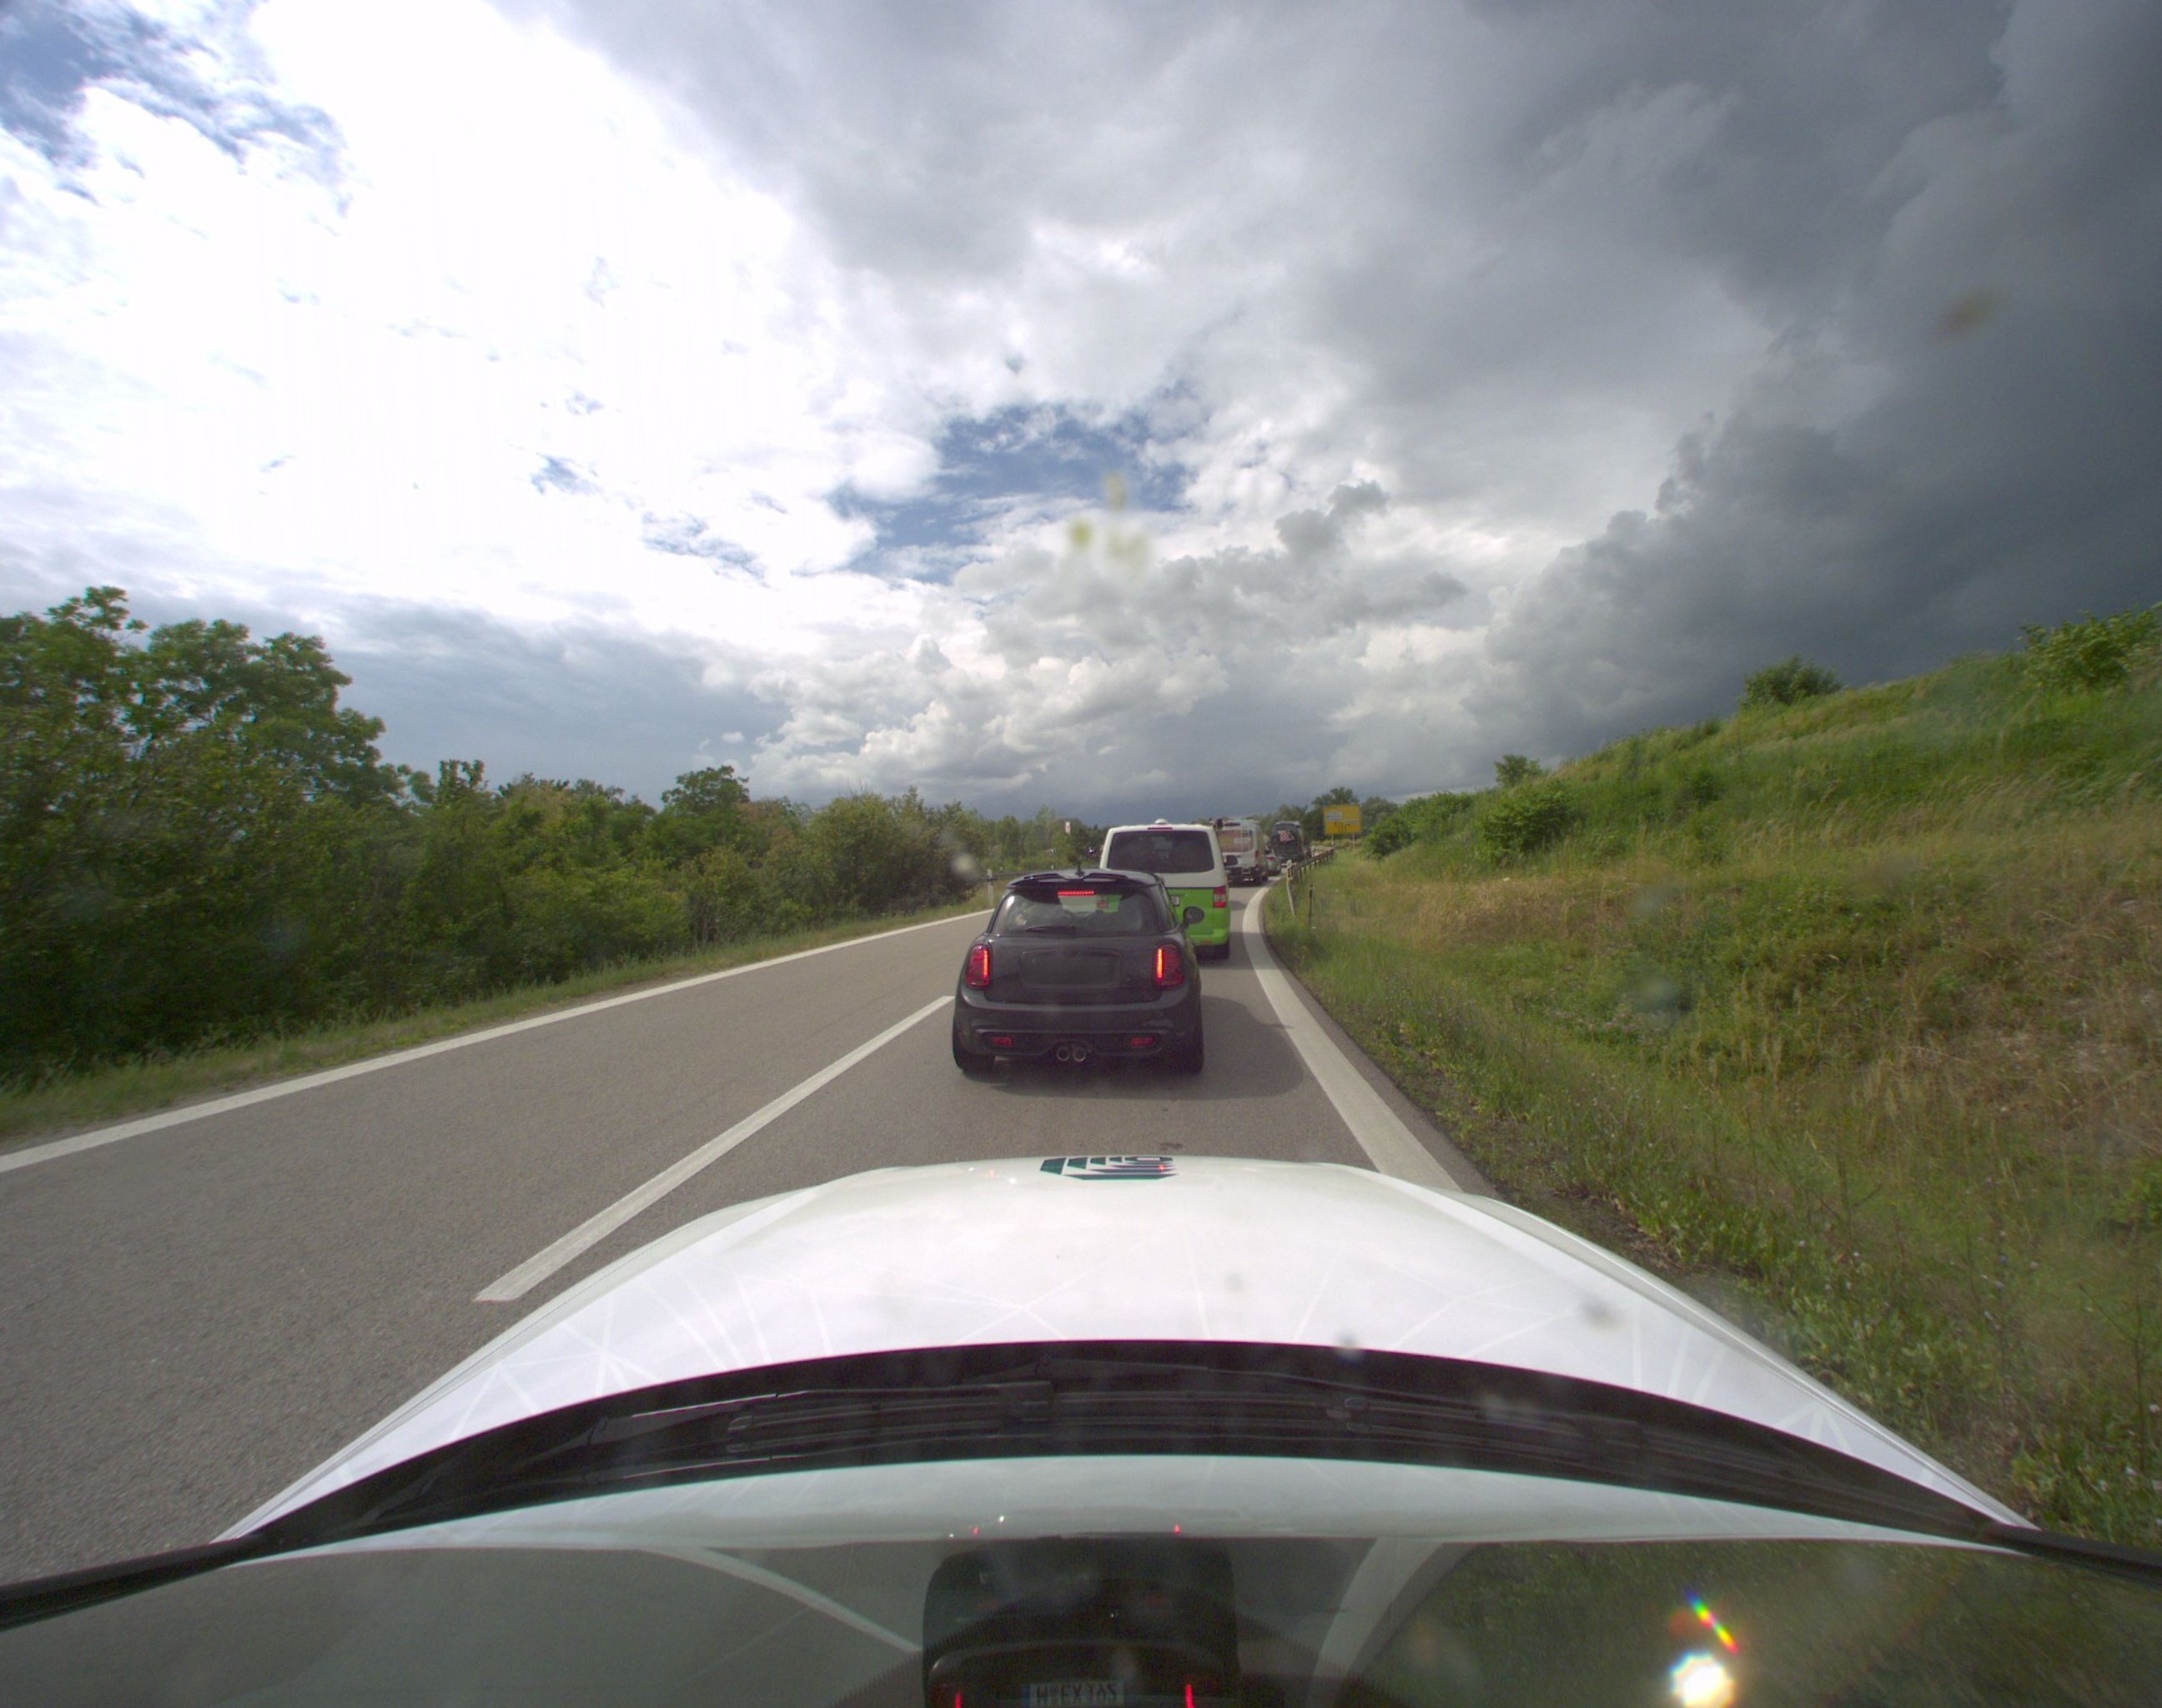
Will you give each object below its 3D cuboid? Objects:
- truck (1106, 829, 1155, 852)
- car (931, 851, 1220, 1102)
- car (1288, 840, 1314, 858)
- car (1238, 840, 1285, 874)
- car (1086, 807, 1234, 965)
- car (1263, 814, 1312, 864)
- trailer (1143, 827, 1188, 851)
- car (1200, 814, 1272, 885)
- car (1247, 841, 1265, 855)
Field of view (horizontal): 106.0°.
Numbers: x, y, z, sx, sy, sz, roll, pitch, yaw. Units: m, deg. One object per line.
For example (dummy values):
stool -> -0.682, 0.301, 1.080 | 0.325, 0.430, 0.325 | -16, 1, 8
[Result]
truck -> 8.811, -2.380, 146.104 | 2.860, 3.976, 9.913 | 0, -1, -39
car -> 0.151, 0.762, 6.954 | 1.790, 1.546, 3.745 | -1, 0, 6
car -> 19.932, -0.439, 73.752 | 1.877, 1.588, 4.518 | -1, -1, 20
car -> 9.244, 0.175, 41.591 | 1.978, 1.642, 3.946 | -1, -1, 17
car -> 1.403, 0.431, 12.751 | 1.899, 2.045, 4.193 | -1, 0, 10
car -> 13.555, -0.887, 53.096 | 2.291, 3.069, 6.696 | -1, -1, 21
trailer -> 14.299, -2.455, 138.641 | 3.056, 3.898, 8.684 | 0, -1, -32
car -> 6.423, -0.154, 33.174 | 2.194, 2.622, 5.559 | -1, -1, 18
car -> 24.871, -0.880, 115.628 | 2.084, 1.883, 4.504 | 0, -1, 7
